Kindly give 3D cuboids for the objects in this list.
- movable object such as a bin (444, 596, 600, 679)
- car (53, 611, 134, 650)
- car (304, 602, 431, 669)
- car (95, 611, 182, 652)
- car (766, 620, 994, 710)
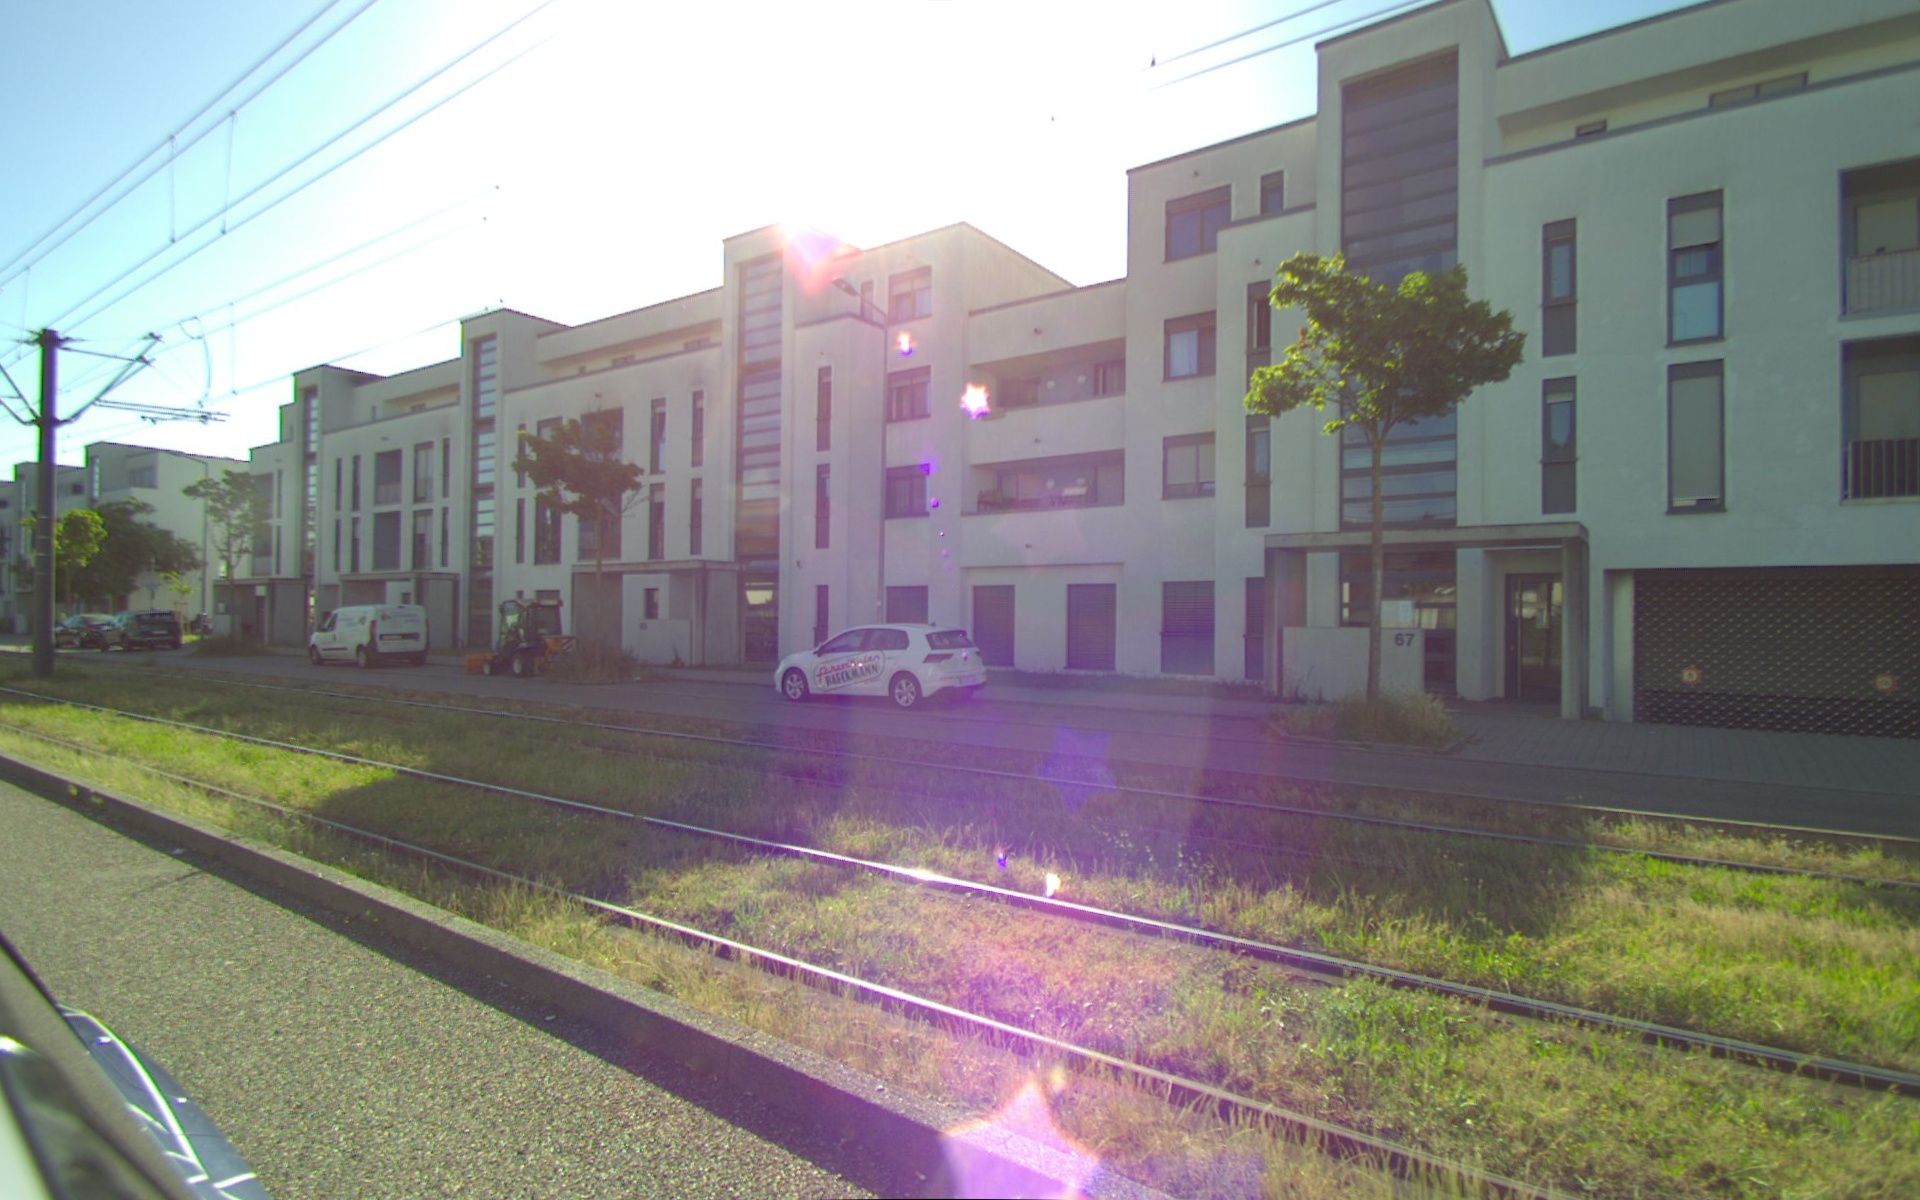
[{"bbox_3d":[-11.261,0.911,25.944,4.147,1.952,1.746,-1,0,35],"label":"movable object such as a bin"},{"bbox_3d":[-38.666,1.336,45.133,4.147,1.611,1.746,-1,0,35],"label":"car"},{"bbox_3d":[-17.934,1.032,30.584,4.147,1.884,1.746,-1,0,35],"label":"car"},{"bbox_3d":[-34.044,1.276,41.909,4.147,1.611,1.746,-1,0,35],"label":"car"},{"bbox_3d":[-1.520,1.101,18.425,4.147,1.443,1.504,-1,0,35],"label":"car"}]
